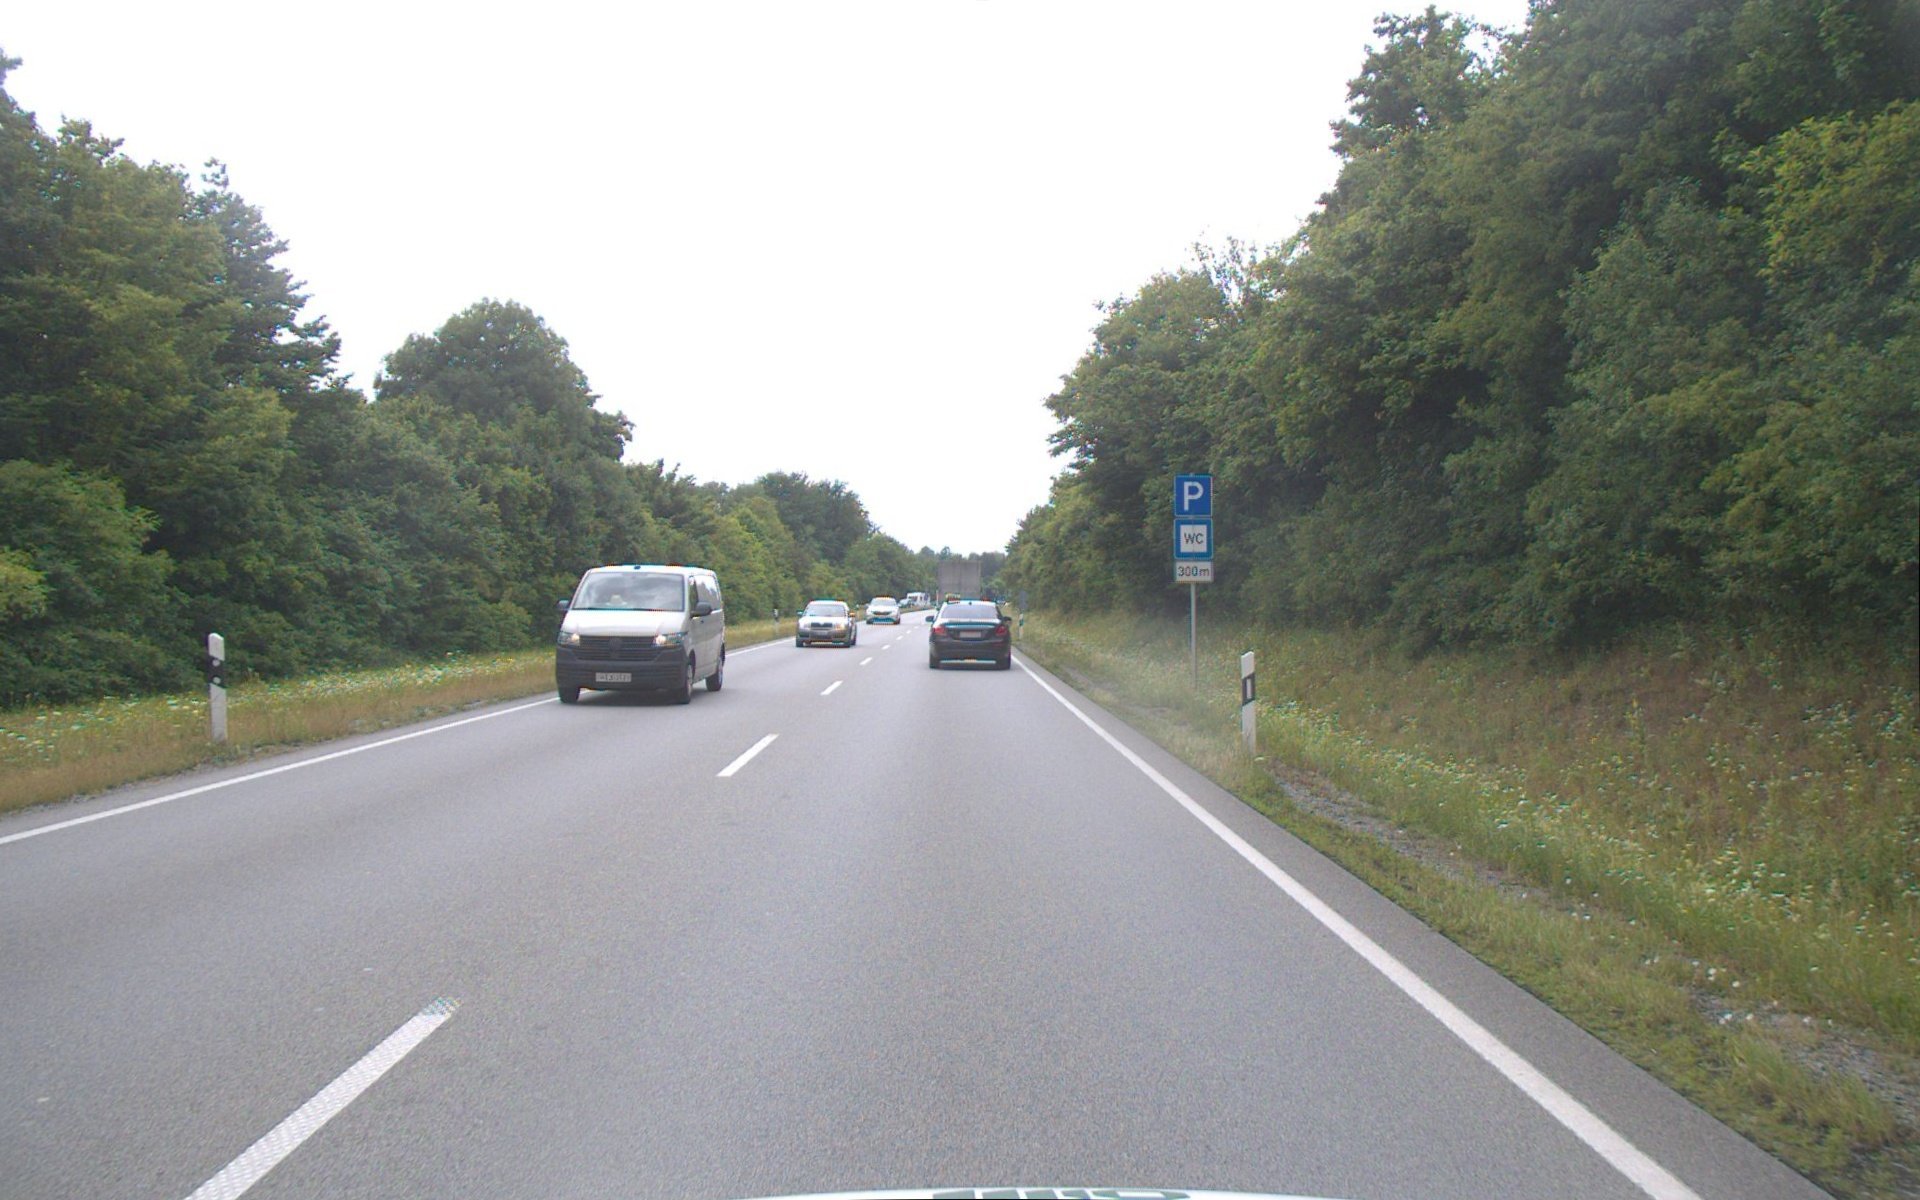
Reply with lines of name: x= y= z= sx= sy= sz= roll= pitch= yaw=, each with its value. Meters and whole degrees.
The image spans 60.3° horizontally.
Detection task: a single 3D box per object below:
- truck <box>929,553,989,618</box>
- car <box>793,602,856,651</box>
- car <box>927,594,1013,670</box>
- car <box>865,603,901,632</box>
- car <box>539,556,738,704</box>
truck: x=0.058 y=-0.811 z=101.374 sx=3.213 sy=3.675 sz=11.402 roll=1 pitch=0 yaw=2
car: x=-4.288 y=0.814 z=52.928 sx=1.690 sy=1.459 sz=4.502 roll=1 pitch=0 yaw=-1
car: x=0.175 y=0.691 z=37.310 sx=1.755 sy=1.579 sz=3.998 roll=1 pitch=0 yaw=-2
car: x=-4.570 y=1.026 z=98.807 sx=1.924 sy=1.601 sz=5.451 roll=1 pitch=0 yaw=0
car: x=-4.762 y=0.420 z=25.402 sx=1.953 sy=1.974 sz=5.810 roll=1 pitch=0 yaw=-1
